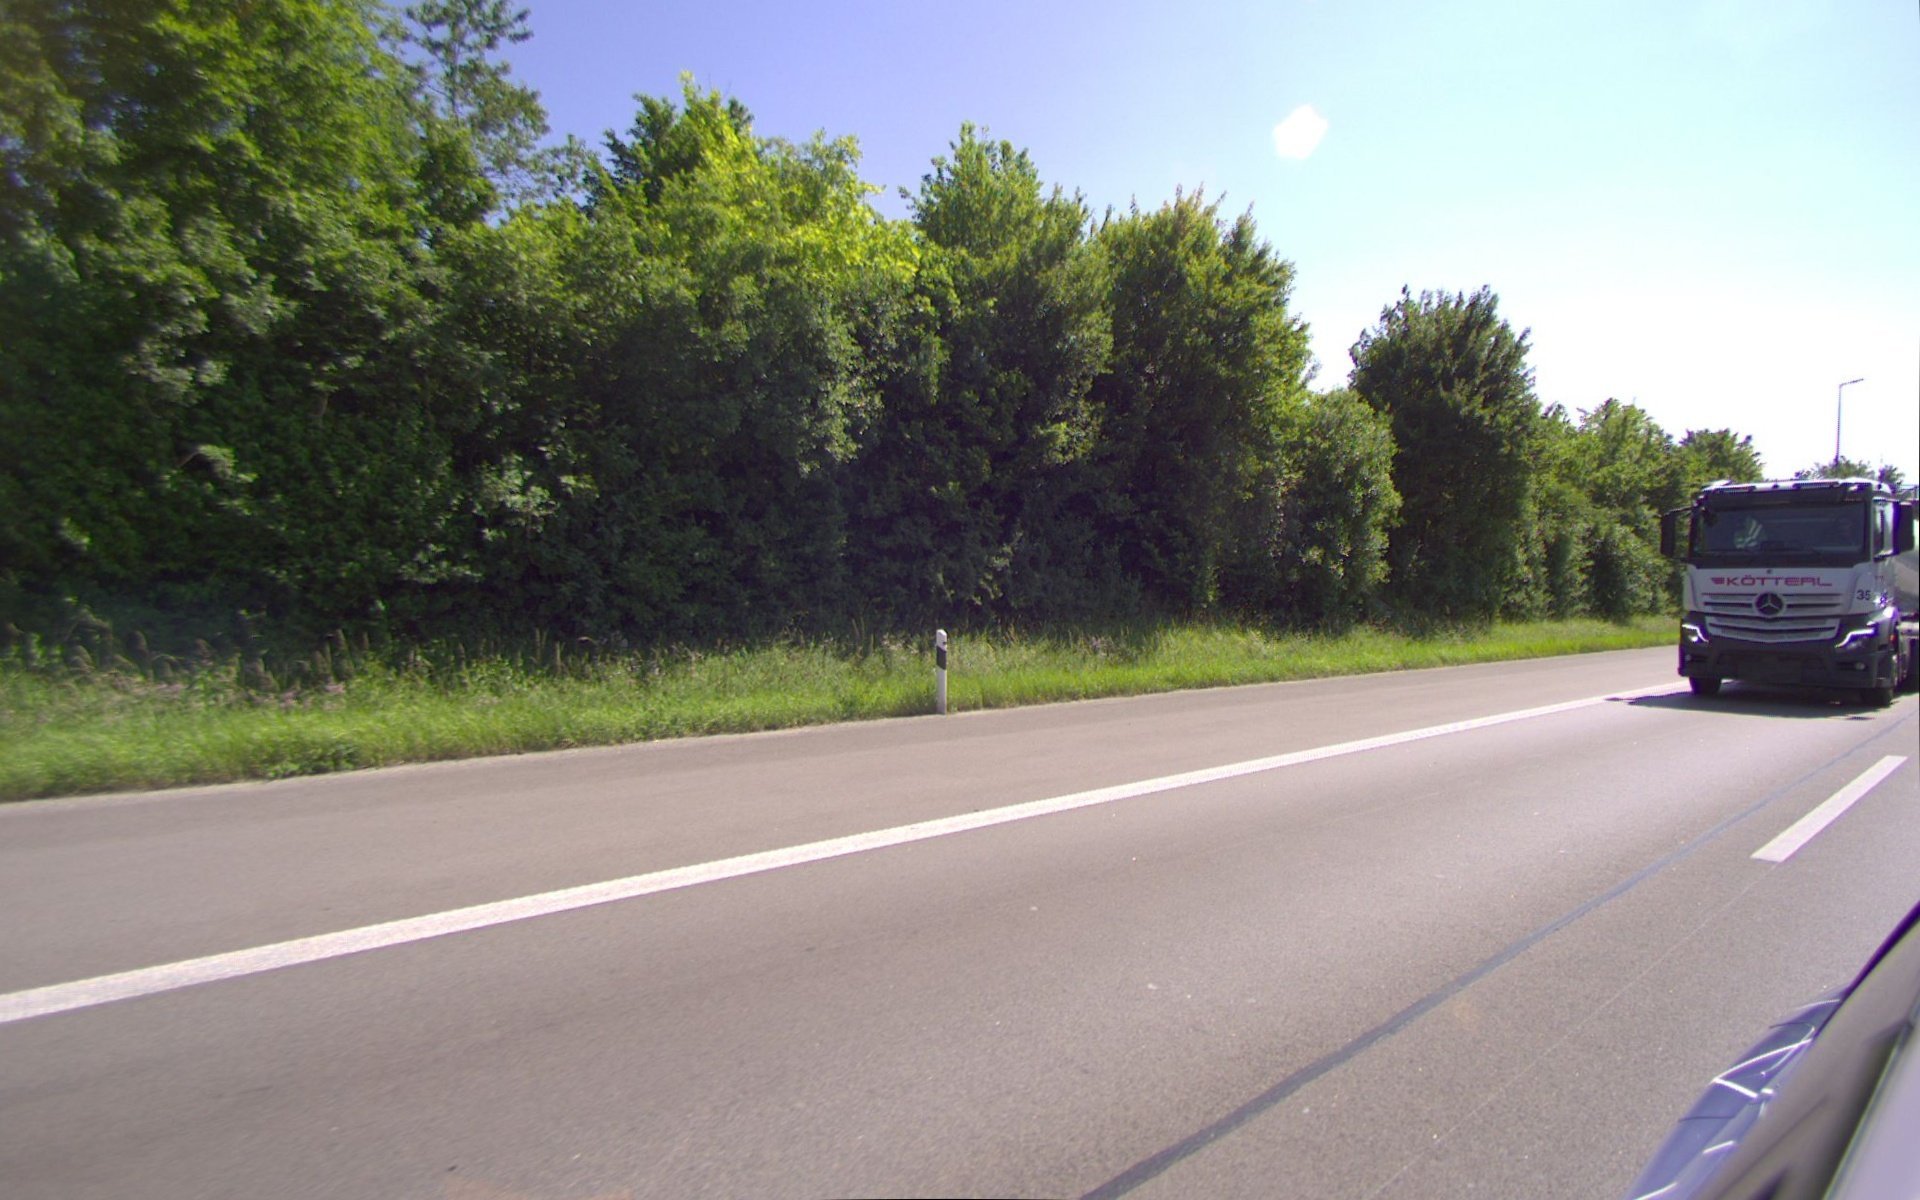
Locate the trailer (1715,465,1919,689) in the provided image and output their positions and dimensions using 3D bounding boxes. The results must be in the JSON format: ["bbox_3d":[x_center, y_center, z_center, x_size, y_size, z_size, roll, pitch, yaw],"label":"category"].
[{"bbox_3d":[17.990,-0.375,20.090,10.958,3.432,2.652,0,1,-42],"label":"trailer"}]

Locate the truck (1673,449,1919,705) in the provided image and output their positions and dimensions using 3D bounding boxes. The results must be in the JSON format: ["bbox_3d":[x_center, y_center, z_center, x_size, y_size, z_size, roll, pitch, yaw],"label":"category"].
[{"bbox_3d":[14.132,-0.329,16.627,6.376,3.417,2.641,0,0,-42],"label":"truck"}]
